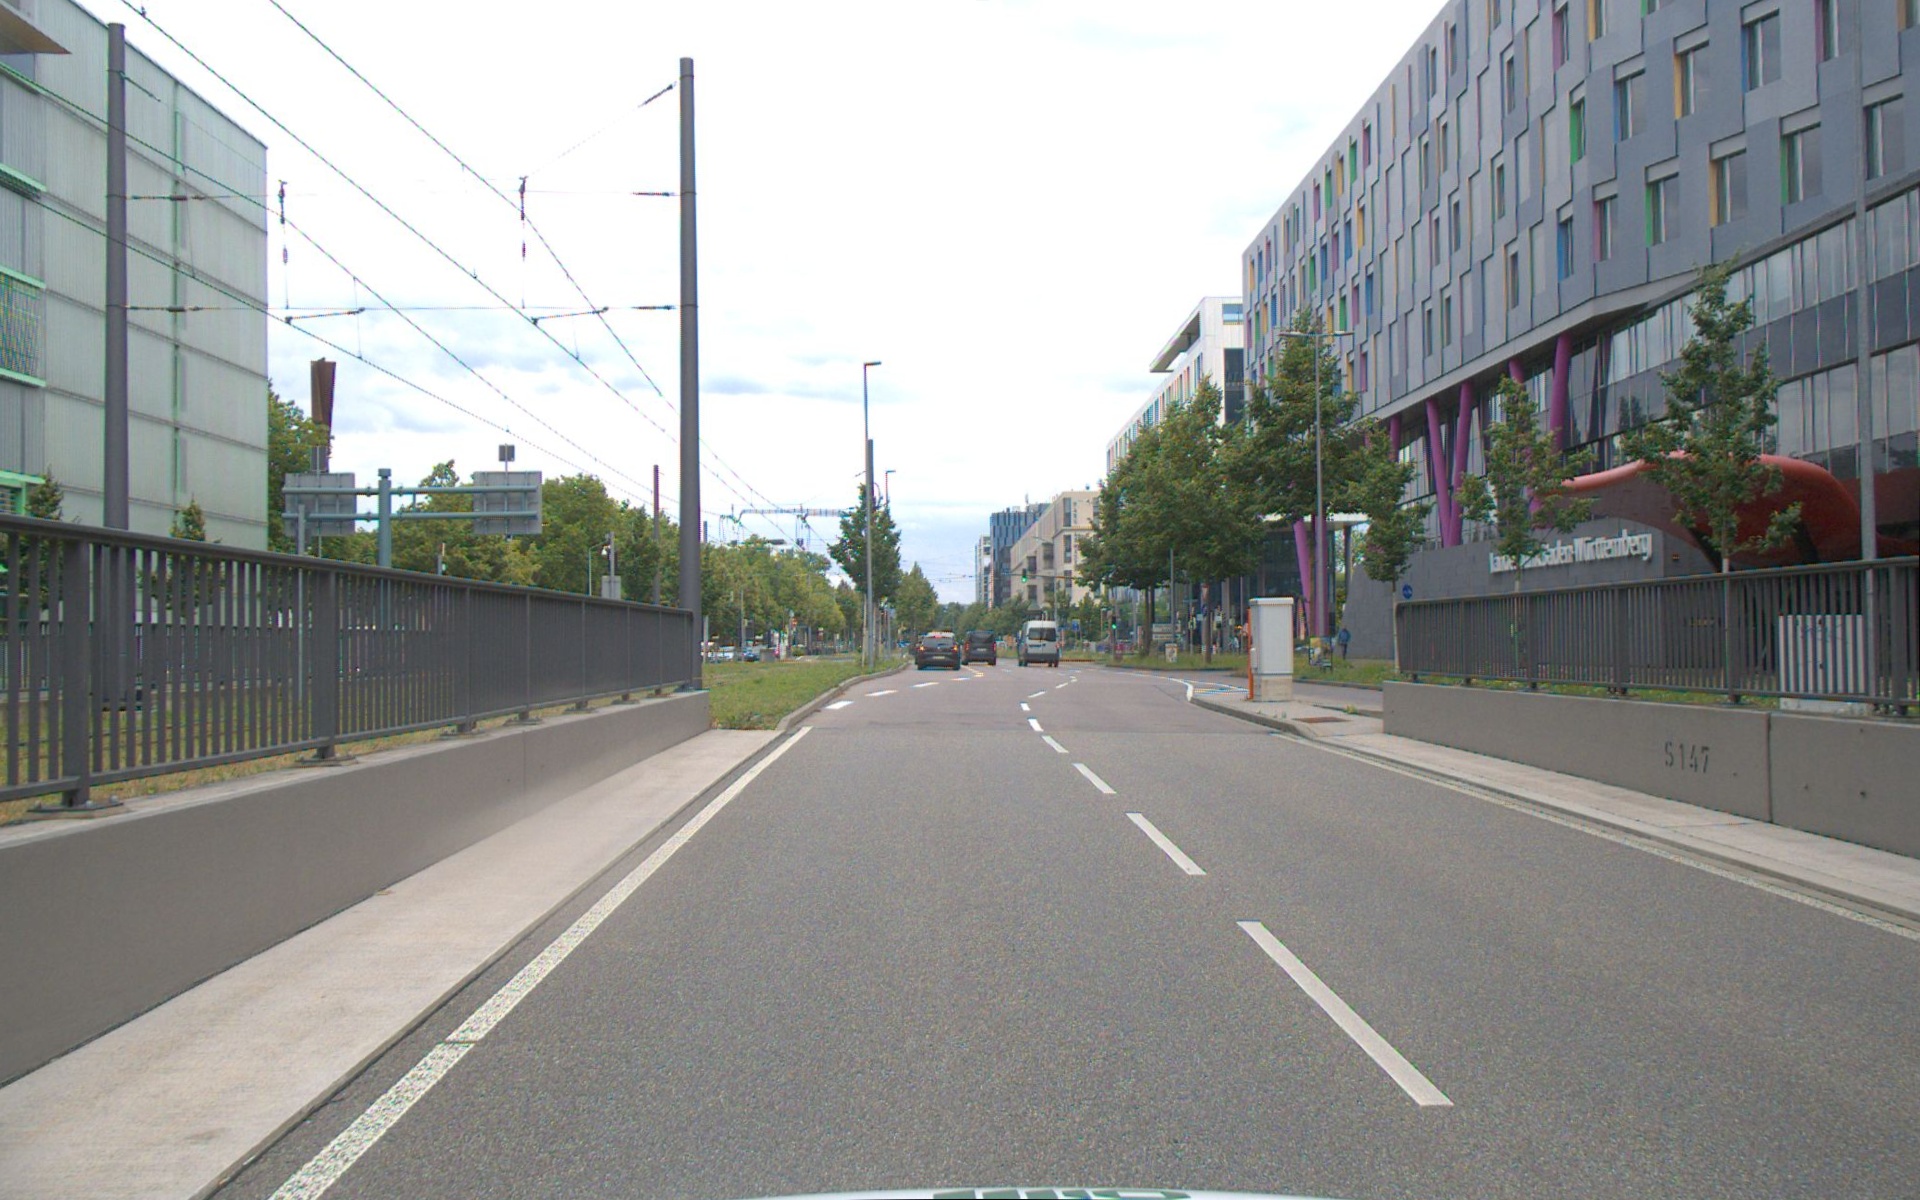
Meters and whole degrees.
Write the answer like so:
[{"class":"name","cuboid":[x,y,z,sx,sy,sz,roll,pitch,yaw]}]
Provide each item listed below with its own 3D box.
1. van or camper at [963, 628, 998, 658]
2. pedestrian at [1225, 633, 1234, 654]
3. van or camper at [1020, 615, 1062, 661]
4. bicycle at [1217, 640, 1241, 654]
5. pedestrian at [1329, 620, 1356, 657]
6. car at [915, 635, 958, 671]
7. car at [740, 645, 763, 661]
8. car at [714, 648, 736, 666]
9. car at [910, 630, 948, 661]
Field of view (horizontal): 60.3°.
[{"class":"van or camper","cuboid":[1.173,2.472,95.431,1.953,1.644,4.788,0,0,0]},{"class":"pedestrian","cuboid":[21.220,3.445,130.397,0.602,1.632,0.618,-1,-2,1]},{"class":"van or camper","cuboid":[4.463,2.077,92.178,2.066,2.397,4.922,0,0,0]},{"class":"bicycle","cuboid":[21.228,3.715,130.387,1.755,1.105,0.618,-1,-2,1]},{"class":"pedestrian","cuboid":[19.029,1.901,82.309,1.030,1.801,1.136,-1,-1,0]},{"class":"car","cuboid":[-1.016,2.195,69.239,1.708,1.442,3.998,1,-2,-2]},{"class":"car","cuboid":[-21.984,5.579,174.874,1.924,1.616,4.687,0,-1,-1]},{"class":"car","cuboid":[-21.498,5.232,151.568,1.695,1.471,4.916,-3,-1,-5]},{"class":"car","cuboid":[-1.750,2.586,94.092,1.952,1.711,4.000,1,-1,1]}]
